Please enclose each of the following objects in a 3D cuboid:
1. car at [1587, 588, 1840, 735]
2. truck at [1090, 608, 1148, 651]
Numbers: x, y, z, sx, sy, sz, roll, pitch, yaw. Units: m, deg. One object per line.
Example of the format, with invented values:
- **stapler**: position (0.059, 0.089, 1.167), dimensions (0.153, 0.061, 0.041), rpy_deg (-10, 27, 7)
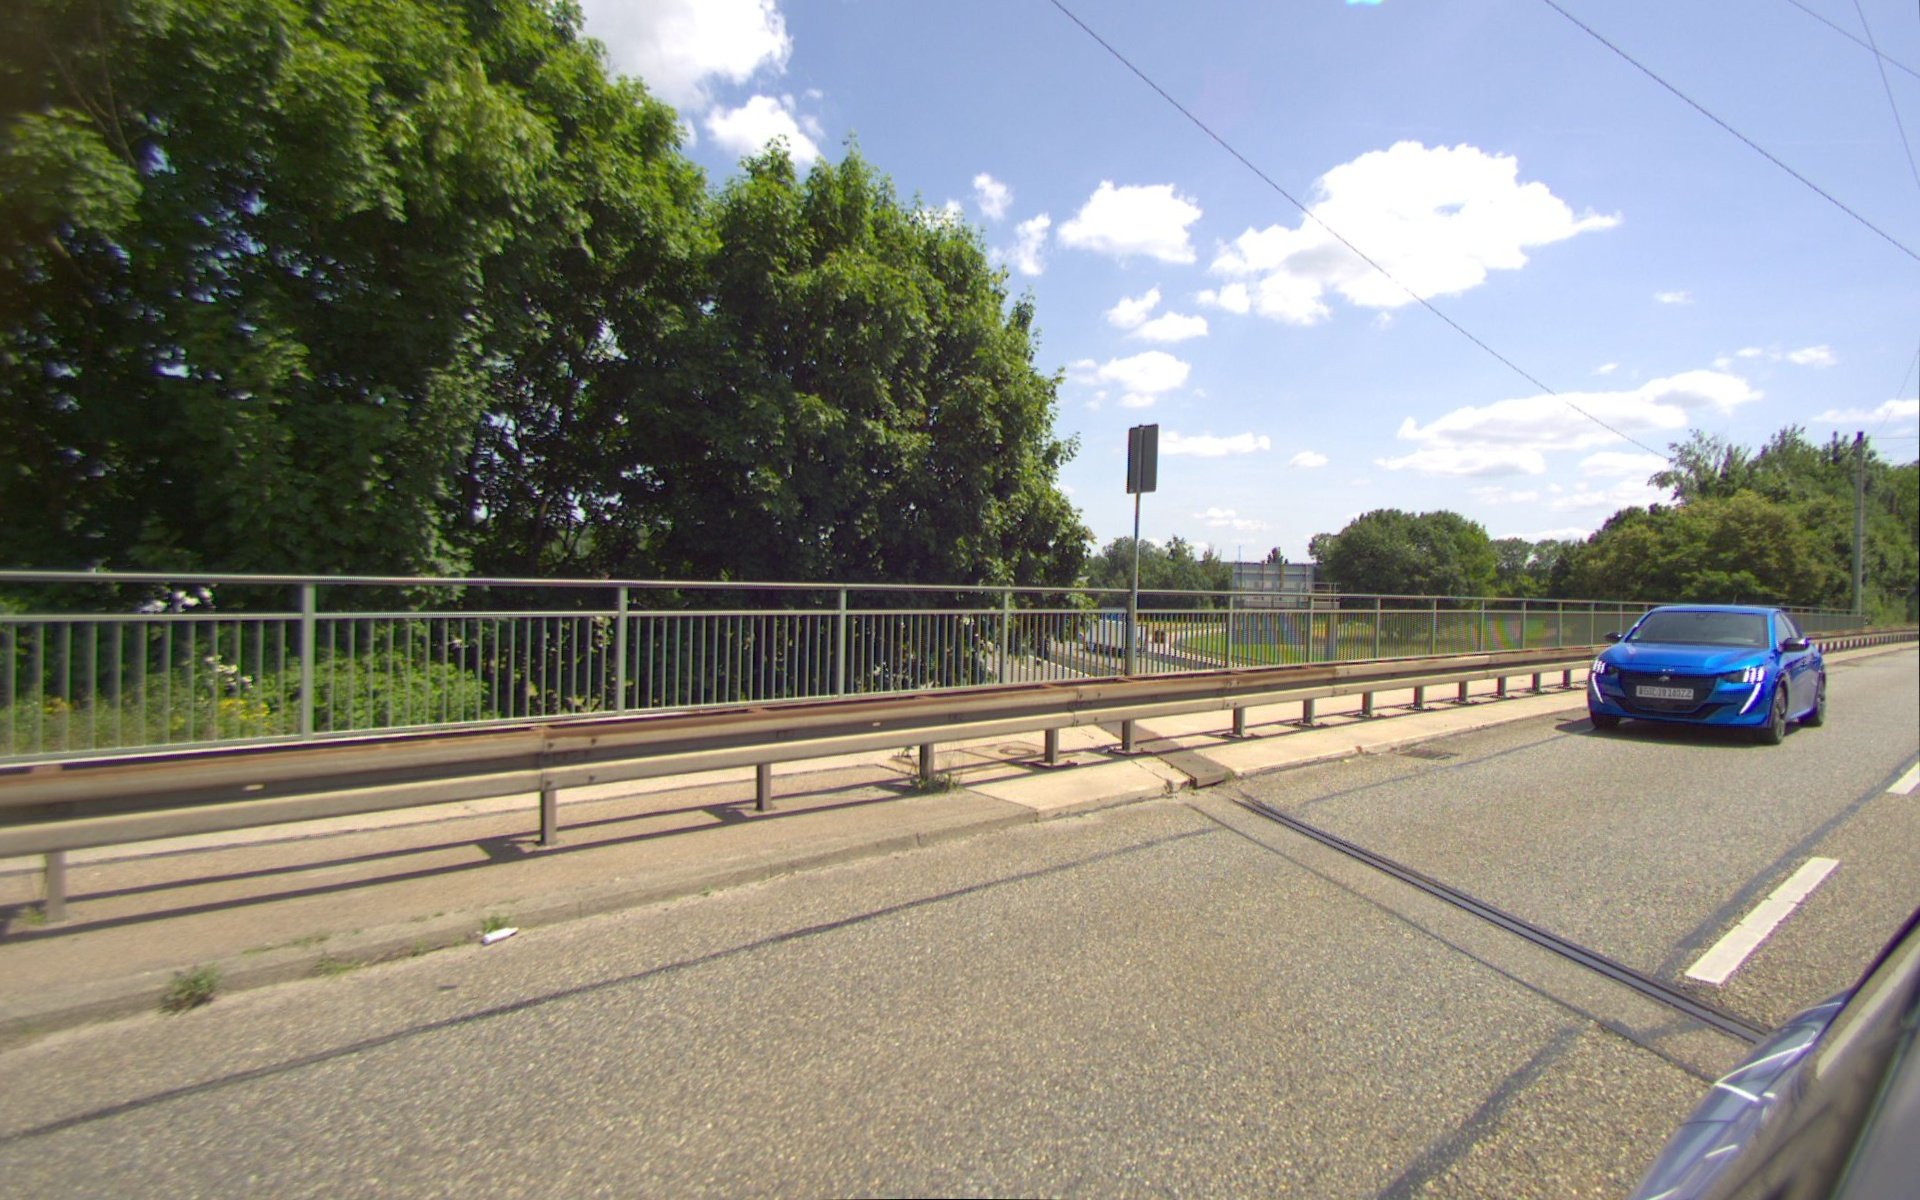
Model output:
- **car**: position (8.824, 0.599, 11.752), dimensions (3.679, 1.423, 1.658), rpy_deg (0, 1, -42)
- **truck**: position (19.418, 3.459, 124.855), dimensions (2.774, 4.271, 14.815), rpy_deg (-1, 2, -8)
